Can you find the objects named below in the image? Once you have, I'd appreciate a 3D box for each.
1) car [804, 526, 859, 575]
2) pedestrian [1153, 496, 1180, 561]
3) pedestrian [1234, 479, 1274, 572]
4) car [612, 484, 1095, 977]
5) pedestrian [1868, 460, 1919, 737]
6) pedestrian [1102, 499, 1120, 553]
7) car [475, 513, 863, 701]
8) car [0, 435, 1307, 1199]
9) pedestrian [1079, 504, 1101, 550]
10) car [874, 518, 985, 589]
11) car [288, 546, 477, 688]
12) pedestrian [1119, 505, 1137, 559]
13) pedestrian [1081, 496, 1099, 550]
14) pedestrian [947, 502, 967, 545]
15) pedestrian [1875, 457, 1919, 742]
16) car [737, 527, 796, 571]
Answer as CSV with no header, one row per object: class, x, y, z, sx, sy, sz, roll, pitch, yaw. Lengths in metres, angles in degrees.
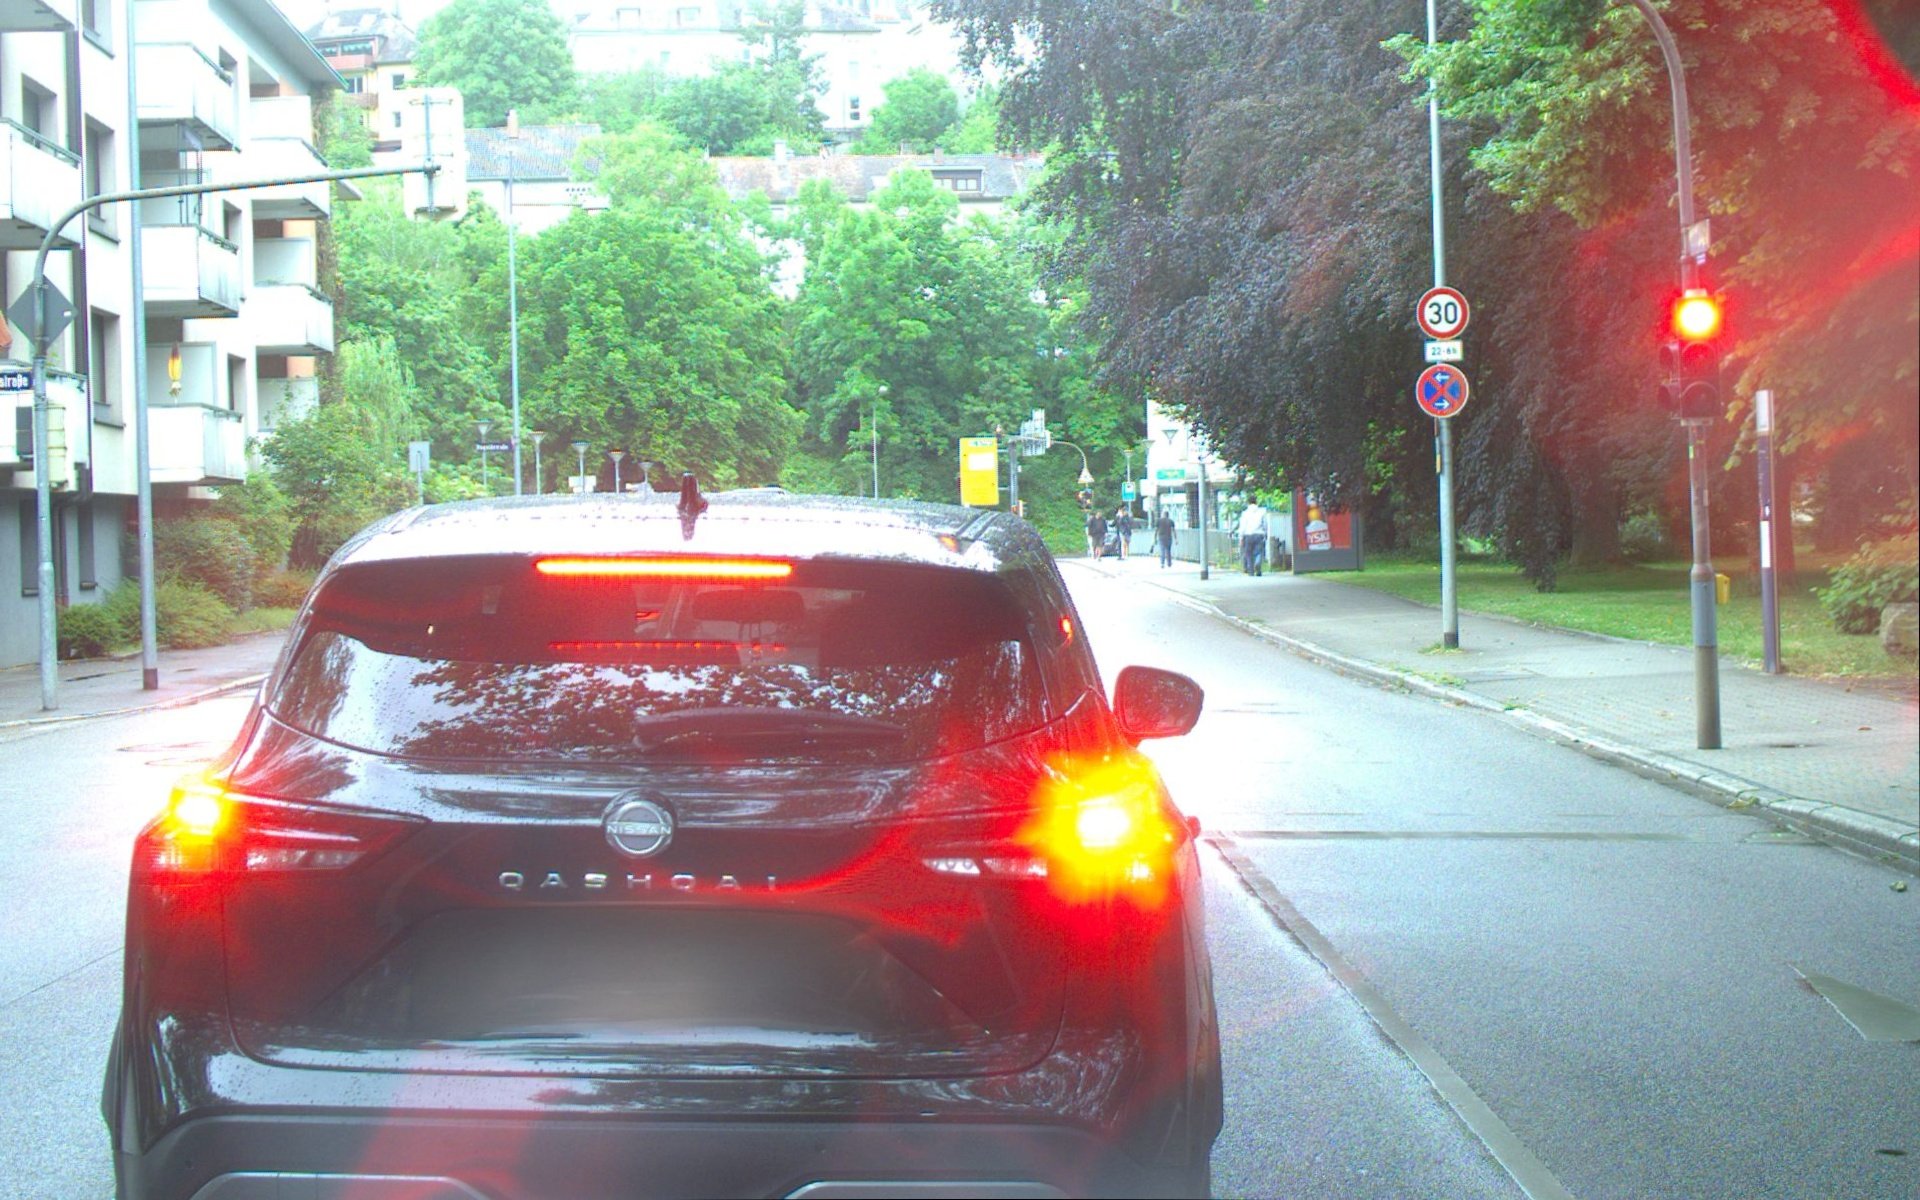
car,-4.202,-1.648,112.685,1.634,1.527,3.968,-2,1,-1
pedestrian,5.818,-2.010,96.761,0.509,1.796,0.619,-2,1,23
pedestrian,6.446,-1.631,75.433,0.725,2.007,0.851,-2,1,0
car,-0.408,0.438,14.379,1.698,1.739,3.641,-2,1,-1
pedestrian,6.906,-0.041,23.541,1.035,1.869,0.658,-4,1,-11
pedestrian,5.036,-2.471,114.808,0.508,1.796,0.659,-2,1,0
car,-2.830,0.032,34.428,1.725,1.672,4.307,-2,1,29
car,-0.474,0.558,6.997,1.913,1.674,4.000,0,1,0
pedestrian,4.768,-2.668,126.190,0.509,1.667,0.658,-2,1,27
car,-0.689,-1.008,73.394,1.825,1.399,4.652,-2,1,-7
car,-6.818,0.163,40.896,1.795,1.528,3.868,-2,1,-4
pedestrian,5.578,-2.254,114.141,0.508,1.796,0.619,-2,1,-2
pedestrian,4.335,-2.572,114.858,0.508,1.796,0.619,-2,1,-1
pedestrian,-0.118,-3.000,135.057,0.509,1.667,0.658,-2,1,27
pedestrian,6.734,-0.035,22.789,1.035,1.869,0.658,-5,2,-32
car,-7.172,-1.922,127.946,1.970,1.527,3.968,-2,1,-1
